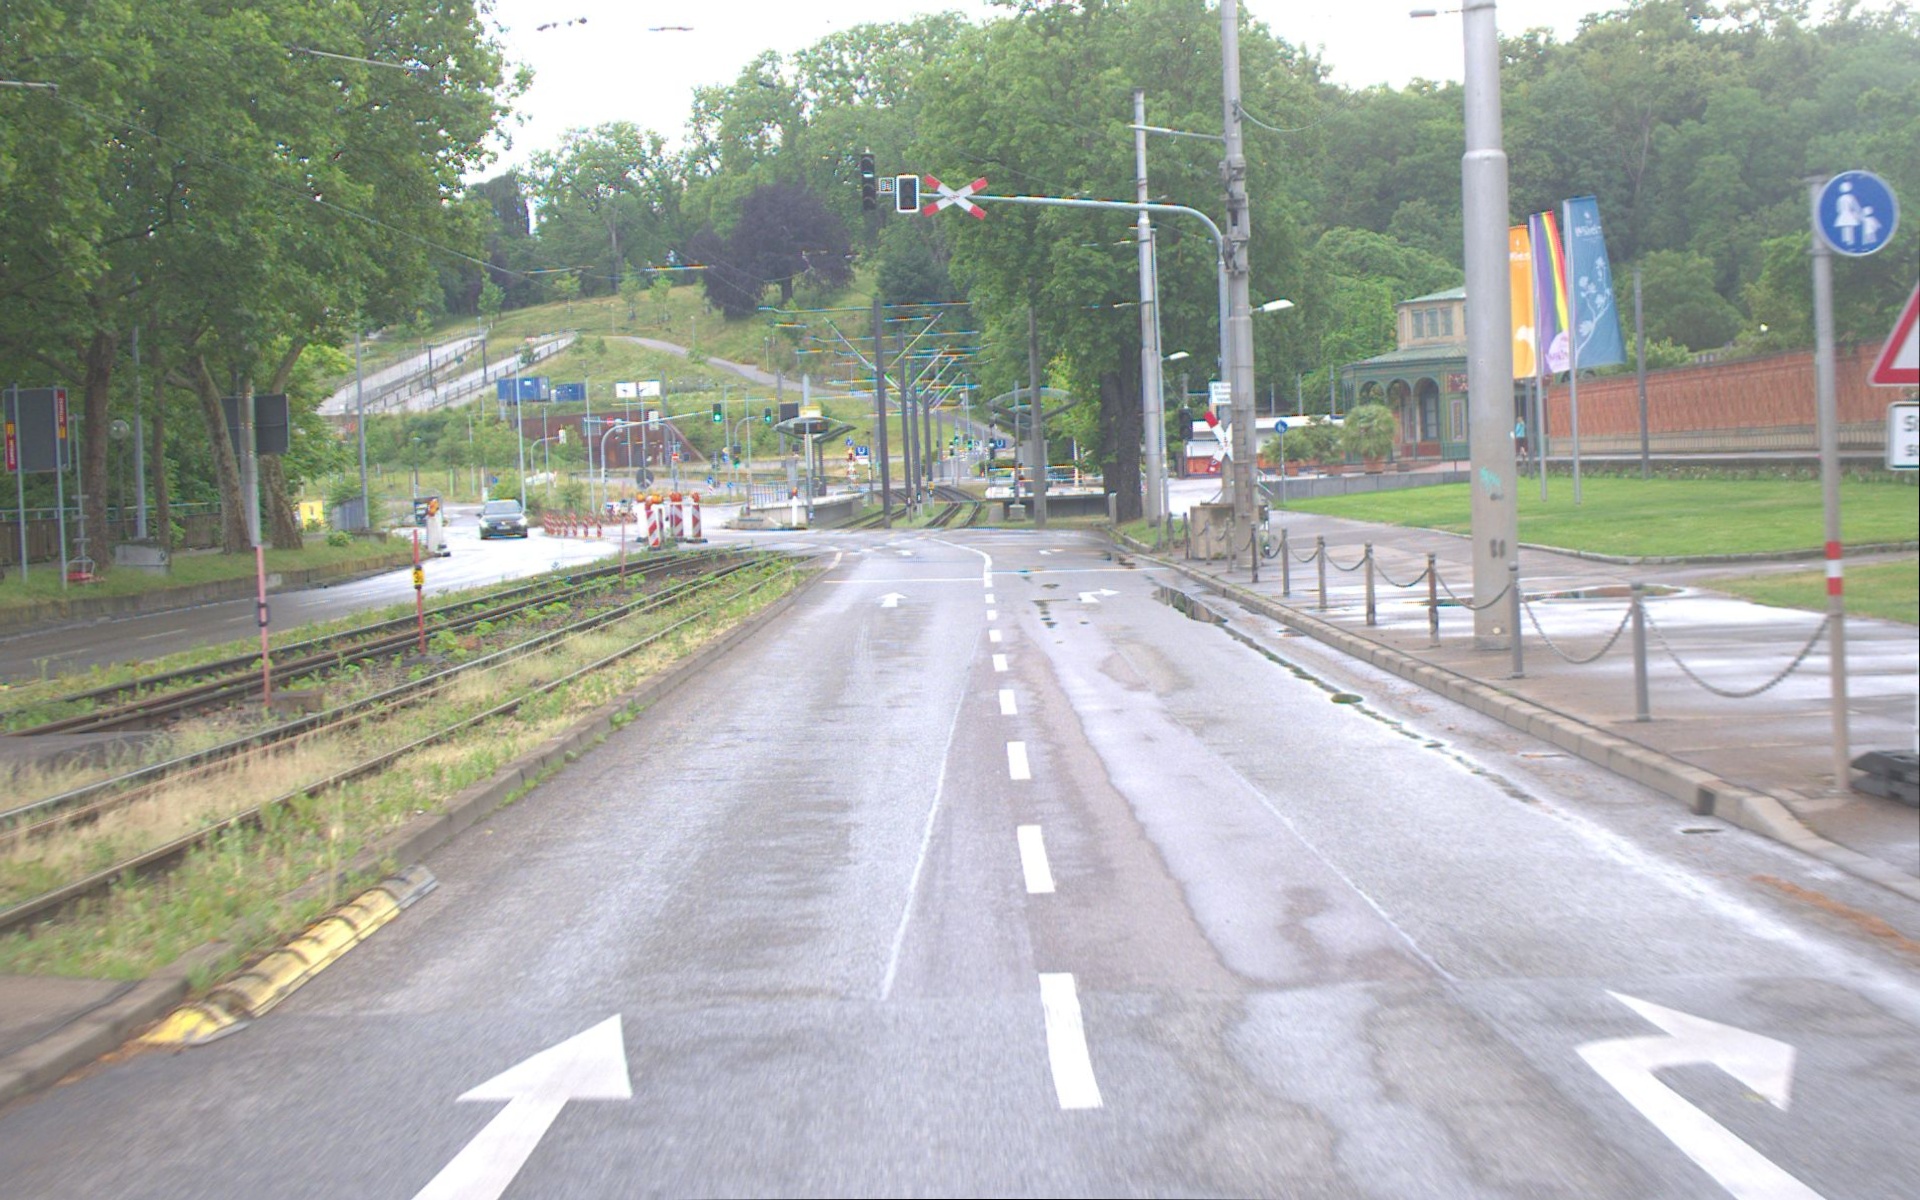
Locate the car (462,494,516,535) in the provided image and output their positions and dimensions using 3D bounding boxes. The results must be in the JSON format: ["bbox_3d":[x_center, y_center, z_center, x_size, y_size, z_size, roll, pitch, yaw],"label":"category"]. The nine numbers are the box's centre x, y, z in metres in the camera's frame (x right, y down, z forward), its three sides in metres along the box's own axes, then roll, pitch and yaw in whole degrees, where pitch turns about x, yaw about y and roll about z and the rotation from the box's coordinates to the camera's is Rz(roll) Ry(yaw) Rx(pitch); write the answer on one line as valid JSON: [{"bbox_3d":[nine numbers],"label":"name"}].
[{"bbox_3d":[-17.970,-3.261,131.082,1.746,1.425,4.562,-4,2,-10],"label":"car"}]

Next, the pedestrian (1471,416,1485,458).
[{"bbox_3d":[21.557,-6.769,142.936,0.531,1.705,0.695,0,1,12],"label":"pedestrian"}]
